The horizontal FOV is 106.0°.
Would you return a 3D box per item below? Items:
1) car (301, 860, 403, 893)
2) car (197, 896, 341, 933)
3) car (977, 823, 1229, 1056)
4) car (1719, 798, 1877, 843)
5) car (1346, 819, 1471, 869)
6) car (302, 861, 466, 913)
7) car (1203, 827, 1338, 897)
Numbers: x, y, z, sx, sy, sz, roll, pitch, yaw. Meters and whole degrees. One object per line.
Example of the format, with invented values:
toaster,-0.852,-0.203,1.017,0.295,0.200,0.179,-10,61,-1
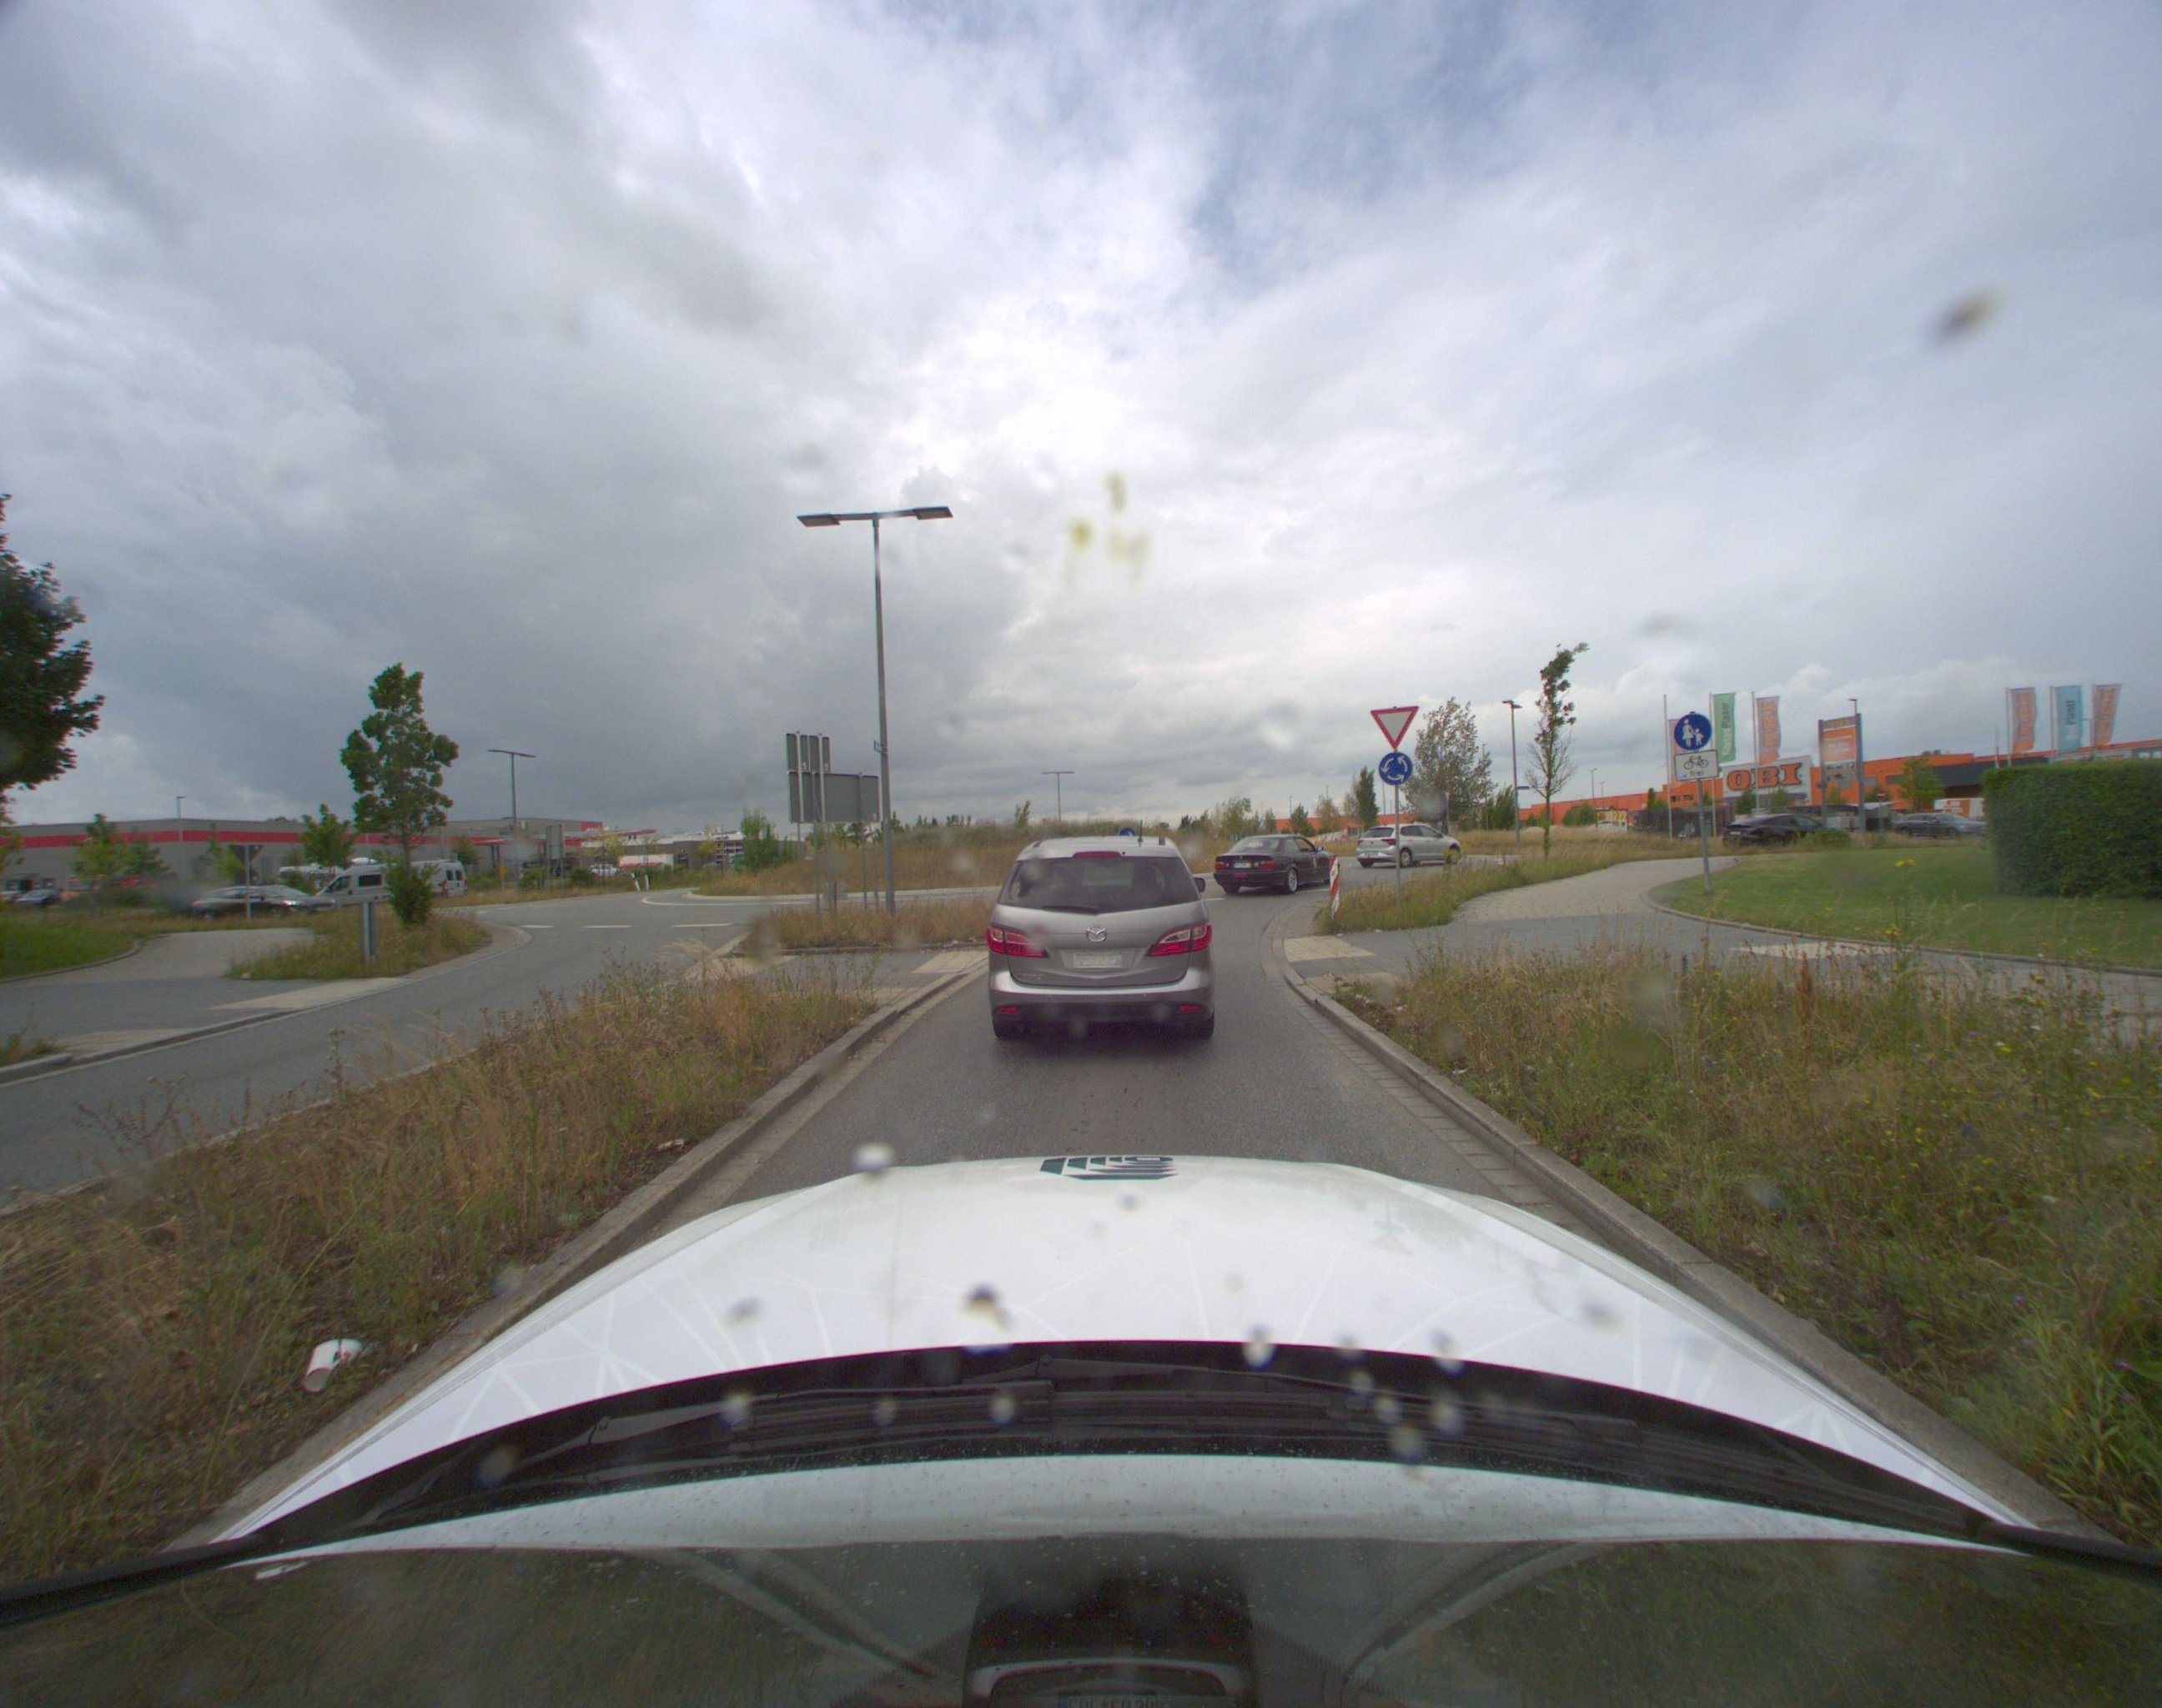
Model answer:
car,-66.734,2.042,74.823,2.455,2.820,7.686,-1,-1,-1
car,-30.982,2.292,31.181,3.581,1.251,1.672,-1,-1,-8
car,0.186,0.571,7.646,1.732,1.598,3.998,-1,1,1
car,29.488,-1.379,33.618,4.740,1.498,1.946,-3,2,2
car,11.177,-0.381,27.747,4.011,1.463,1.797,-3,3,-28
car,-34.498,1.586,40.541,5.708,2.387,2.267,0,-1,-18
car,4.657,0.107,19.581,1.721,1.403,4.024,1,3,36
